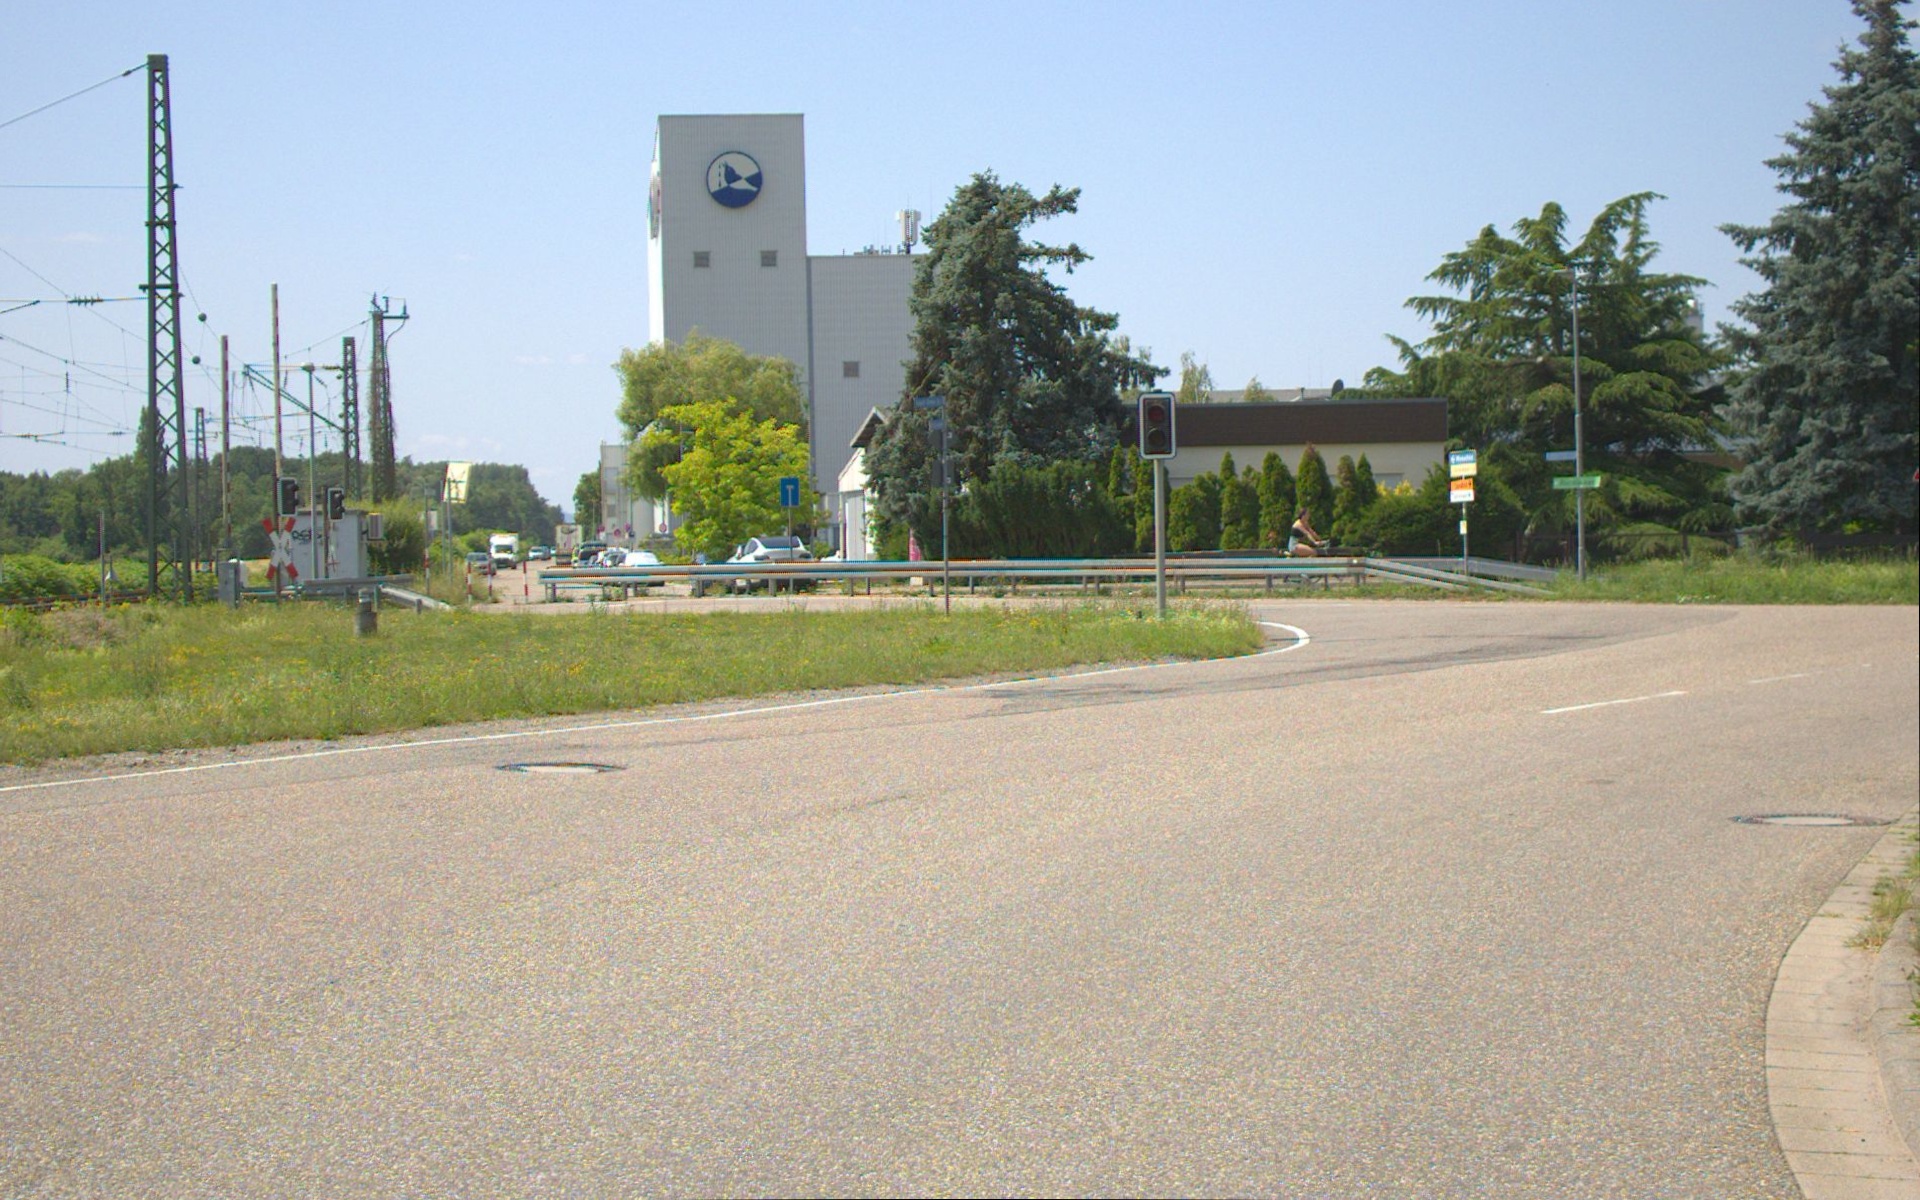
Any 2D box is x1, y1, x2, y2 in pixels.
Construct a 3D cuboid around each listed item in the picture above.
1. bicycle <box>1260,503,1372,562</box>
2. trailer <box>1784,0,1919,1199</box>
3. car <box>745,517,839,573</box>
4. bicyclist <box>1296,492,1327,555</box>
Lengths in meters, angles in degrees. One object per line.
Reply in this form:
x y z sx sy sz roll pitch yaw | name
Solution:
7.156 -1.360 69.097 2.141 1.160 0.661 0 2 18 | bicycle
2.779 -0.057 4.758 1.933 2.635 5.184 -4 2 0 | trailer
-4.781 -1.573 97.320 1.993 1.504 4.456 -1 2 -11 | car
7.071 -1.538 69.100 0.510 1.251 0.469 0 2 18 | bicyclist
